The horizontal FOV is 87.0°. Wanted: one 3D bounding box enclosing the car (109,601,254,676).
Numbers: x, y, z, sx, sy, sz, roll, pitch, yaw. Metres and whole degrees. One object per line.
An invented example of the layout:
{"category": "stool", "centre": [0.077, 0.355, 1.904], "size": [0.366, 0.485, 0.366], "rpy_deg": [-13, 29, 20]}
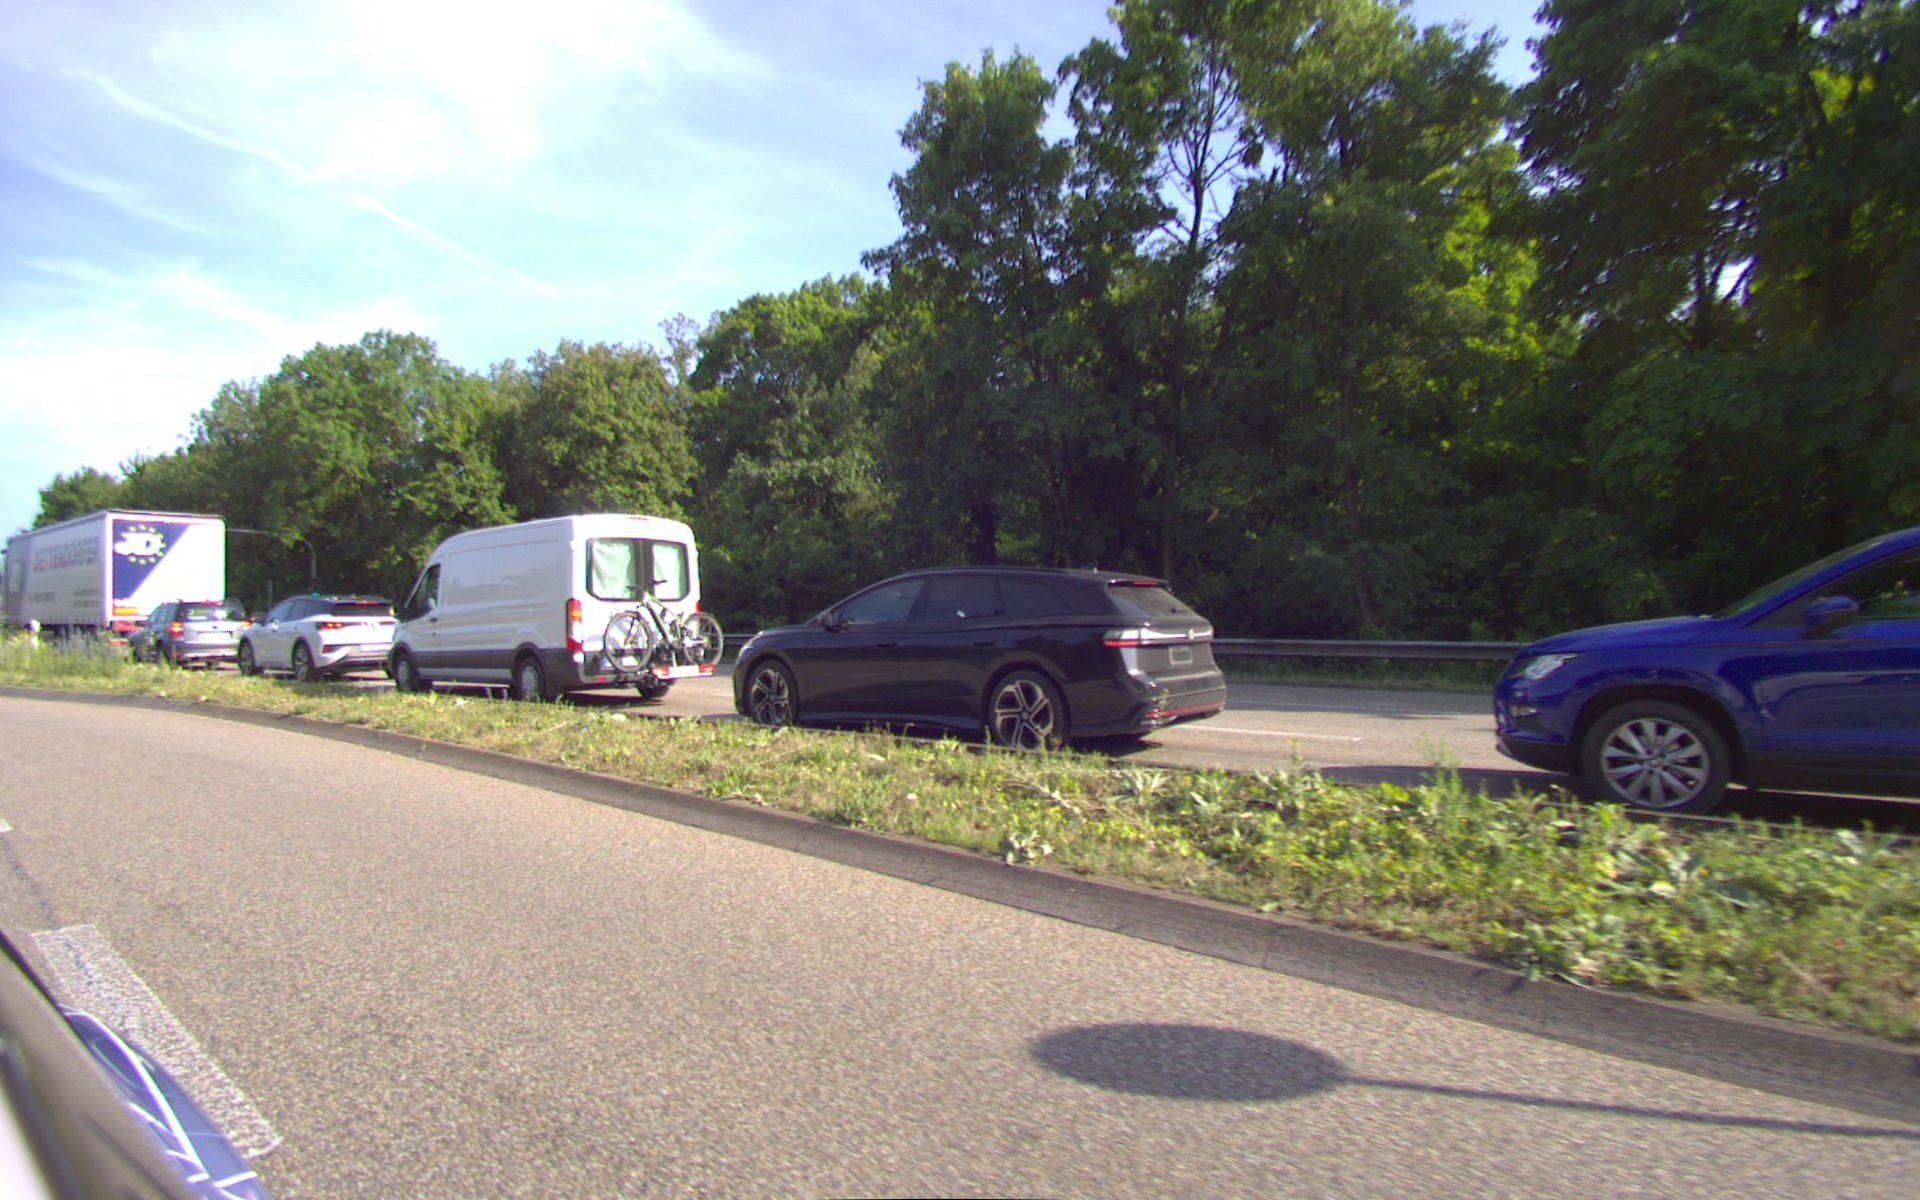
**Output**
{"category": "car", "centre": [-18.587, 0.889, 24.100], "size": [4.364, 1.644, 1.684], "rpy_deg": [-2, -1, 38]}

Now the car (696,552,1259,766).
{"category": "car", "centre": [-0.106, 0.466, 9.251], "size": [5.180, 1.467, 1.743], "rpy_deg": [-2, -1, 39]}

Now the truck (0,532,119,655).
{"category": "truck", "centre": [-32.956, -0.189, 36.191], "size": [6.711, 4.027, 2.864], "rpy_deg": [-2, 1, 37]}

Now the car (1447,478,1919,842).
{"category": "car", "centre": [5.278, 0.272, 5.114], "size": [4.795, 1.682, 1.754], "rpy_deg": [-2, -1, 39]}

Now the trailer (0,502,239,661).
{"category": "trailer", "centre": [-26.411, -0.372, 31.095], "size": [13.993, 4.025, 2.964], "rpy_deg": [-2, 1, 38]}

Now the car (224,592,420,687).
{"category": "car", "centre": [-12.394, 0.738, 19.535], "size": [4.740, 1.644, 1.684], "rpy_deg": [-2, -1, 38]}

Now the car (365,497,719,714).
{"category": "car", "centre": [-6.259, 0.138, 14.655], "size": [6.156, 2.553, 2.055], "rpy_deg": [-2, -1, 39]}
